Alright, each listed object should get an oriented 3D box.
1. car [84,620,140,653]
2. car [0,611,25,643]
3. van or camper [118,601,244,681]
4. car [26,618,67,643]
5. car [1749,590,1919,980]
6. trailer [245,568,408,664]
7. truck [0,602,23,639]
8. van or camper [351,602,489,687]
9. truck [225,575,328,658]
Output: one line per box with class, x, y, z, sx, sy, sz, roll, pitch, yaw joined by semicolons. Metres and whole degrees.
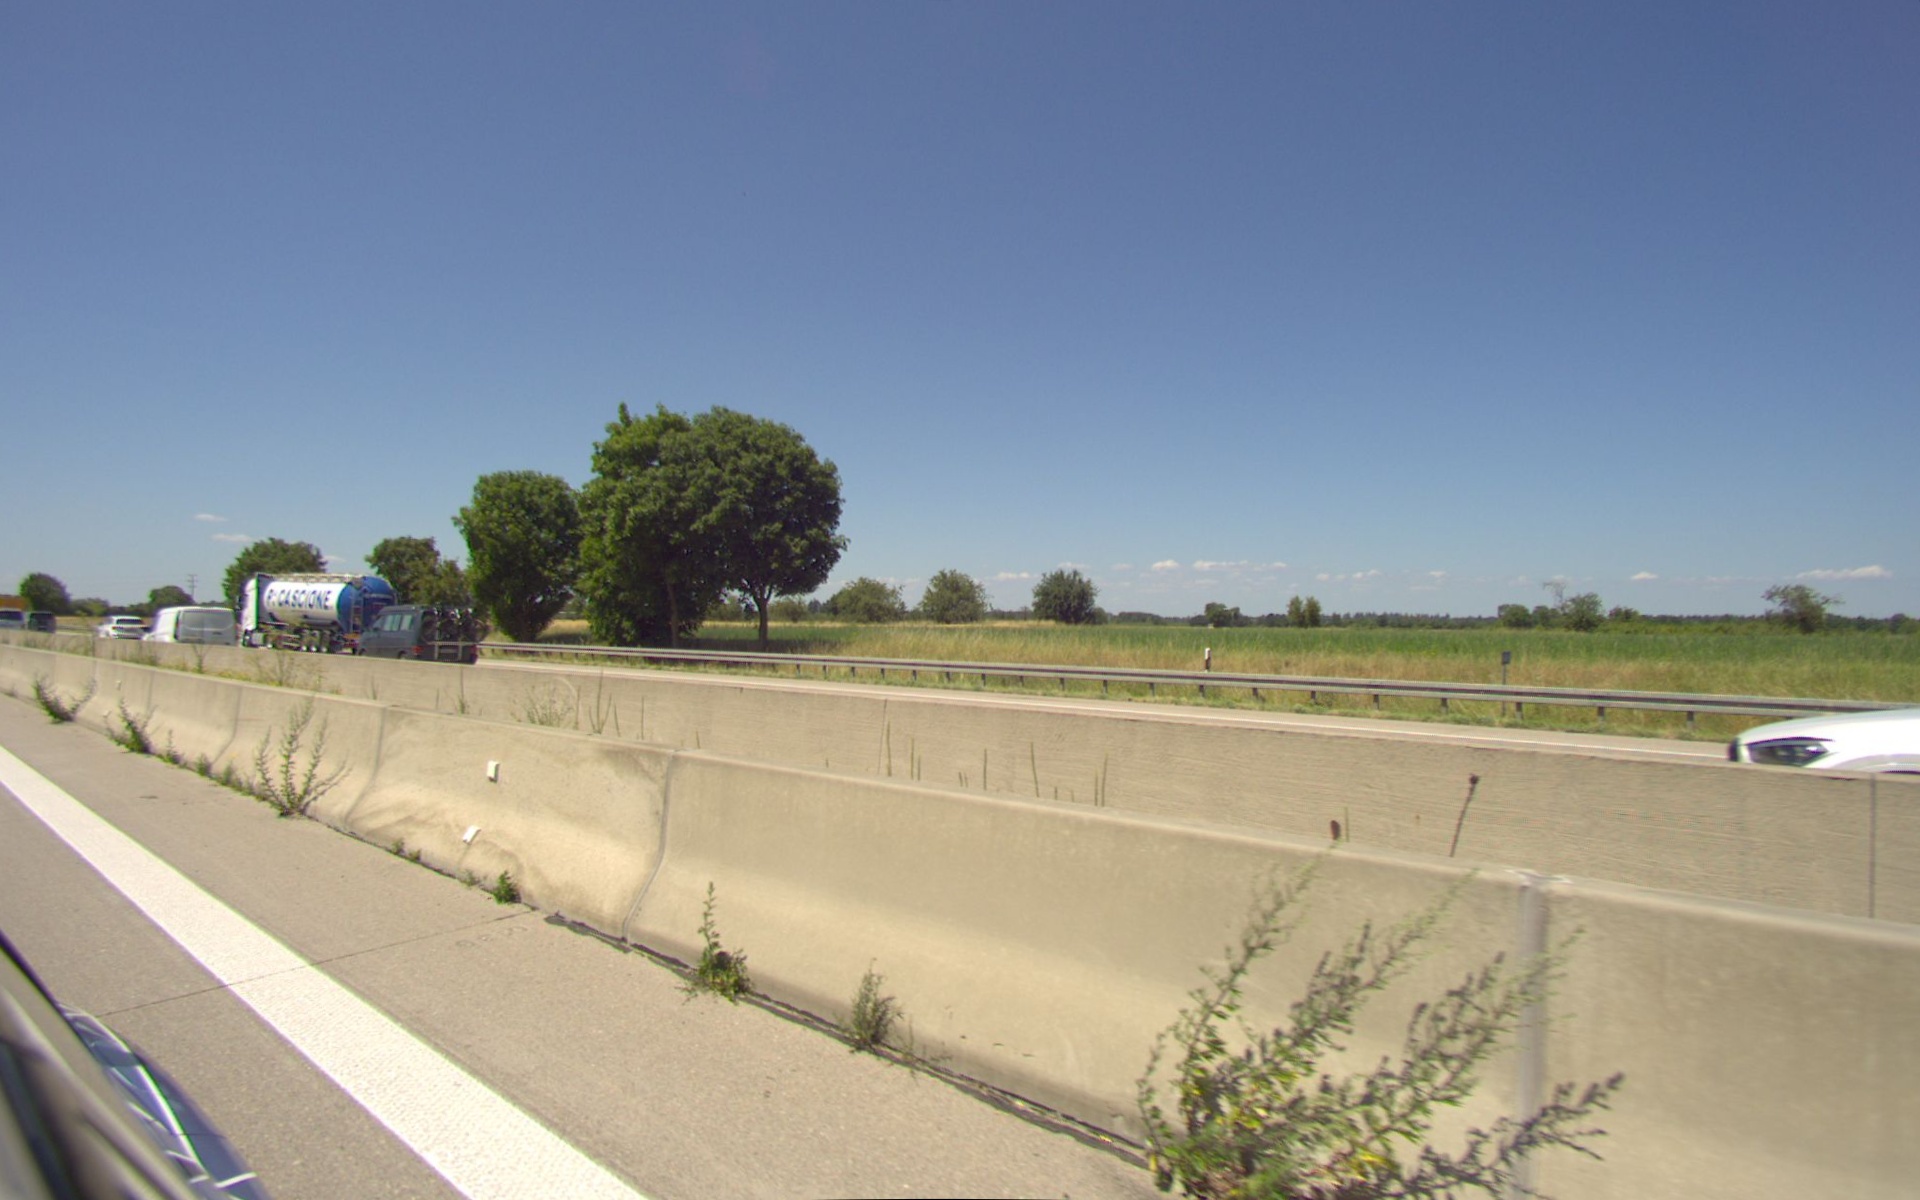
car;-51.305;2.173;61.206;4.299;1.804;1.973;-1;0;41
car;-59.982;1.665;63.166;3.998;1.918;1.973;-1;0;41
van or camper;-24.983;1.216;32.348;6.467;2.315;1.973;-1;0;41
car;-72.807;2.381;80.612;3.998;1.918;1.973;-1;0;41
car;7.440;0.933;4.609;5.975;2.029;2.229;-1;0;41
trailer;-30.064;0.765;47.615;12.998;3.999;2.649;-1;-2;40
truck;-119.419;2.521;125.778;9.996;4.529;3.377;-1;0;41
van or camper;-15.642;1.200;29.201;4.794;2.236;1.917;-1;0;41
truck;-35.180;0.881;52.013;6.616;3.999;2.629;-1;-2;40
